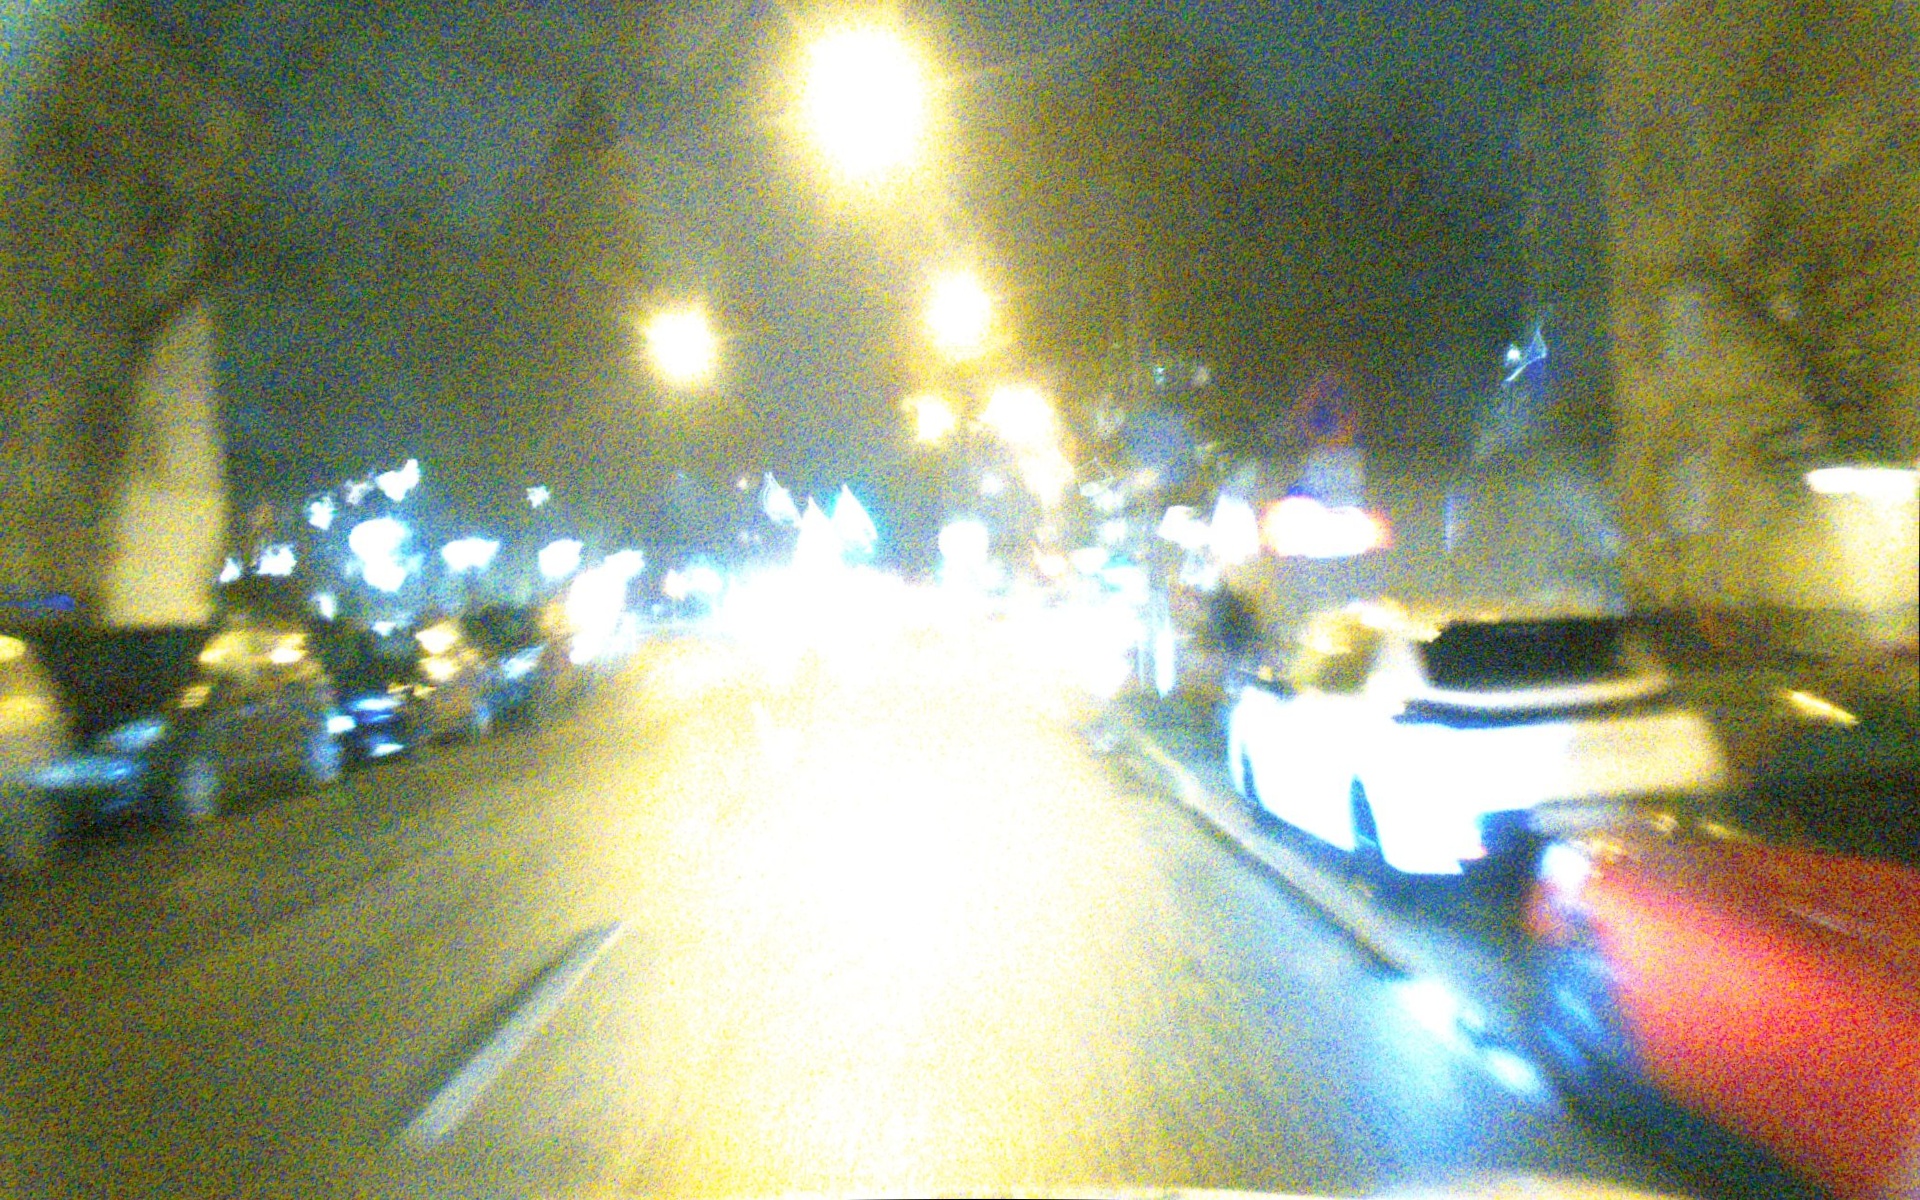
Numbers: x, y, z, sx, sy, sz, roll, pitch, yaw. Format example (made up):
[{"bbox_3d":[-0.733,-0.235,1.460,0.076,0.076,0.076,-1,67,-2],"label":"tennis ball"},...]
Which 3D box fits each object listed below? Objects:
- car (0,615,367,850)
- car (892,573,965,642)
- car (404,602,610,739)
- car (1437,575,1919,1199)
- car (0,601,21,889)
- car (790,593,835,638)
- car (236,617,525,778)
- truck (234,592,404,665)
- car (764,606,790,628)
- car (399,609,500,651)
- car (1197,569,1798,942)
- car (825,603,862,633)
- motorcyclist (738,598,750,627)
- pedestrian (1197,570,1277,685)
[{"bbox_3d":[-6.034,0.887,12.536,1.566,1.397,4.066,-4,0,-1],"label":"car"},{"bbox_3d":[-1.005,0.232,52.033,2.124,2.006,4.301,-2,0,-1],"label":"car"},{"bbox_3d":[-6.081,0.880,22.697,1.566,1.591,4.379,-4,0,-1],"label":"car"},{"bbox_3d":[2.613,0.664,3.429,1.786,1.446,4.486,-3,0,-2],"label":"car"},{"bbox_3d":[-5.848,0.815,6.723,1.566,1.512,4.274,-4,0,-1],"label":"car"},{"bbox_3d":[-7.188,0.711,80.709,1.994,1.987,5.195,-4,1,-5],"label":"car"},{"bbox_3d":[-6.132,0.954,18.045,1.566,1.397,4.353,-4,0,-1],"label":"car"},{"bbox_3d":[-19.709,0.835,51.135,2.078,2.049,5.266,-1,1,17],"label":"truck"},{"bbox_3d":[-13.538,1.242,122.182,1.817,1.525,4.762,-2,1,-7],"label":"car"},{"bbox_3d":[-19.264,1.118,62.591,1.677,1.457,3.921,-1,0,18],"label":"car"},{"bbox_3d":[2.716,0.690,9.679,1.786,1.557,4.781,-3,0,-2],"label":"car"},{"bbox_3d":[-6.419,0.988,90.953,1.783,1.569,4.718,-2,0,-7],"label":"car"},{"bbox_3d":[-15.641,0.918,119.994,0.679,2.049,0.982,-2,0,0],"label":"motorcyclist"},{"bbox_3d":[3.960,0.385,23.726,1.028,1.603,1.019,-1,0,4],"label":"pedestrian"}]
